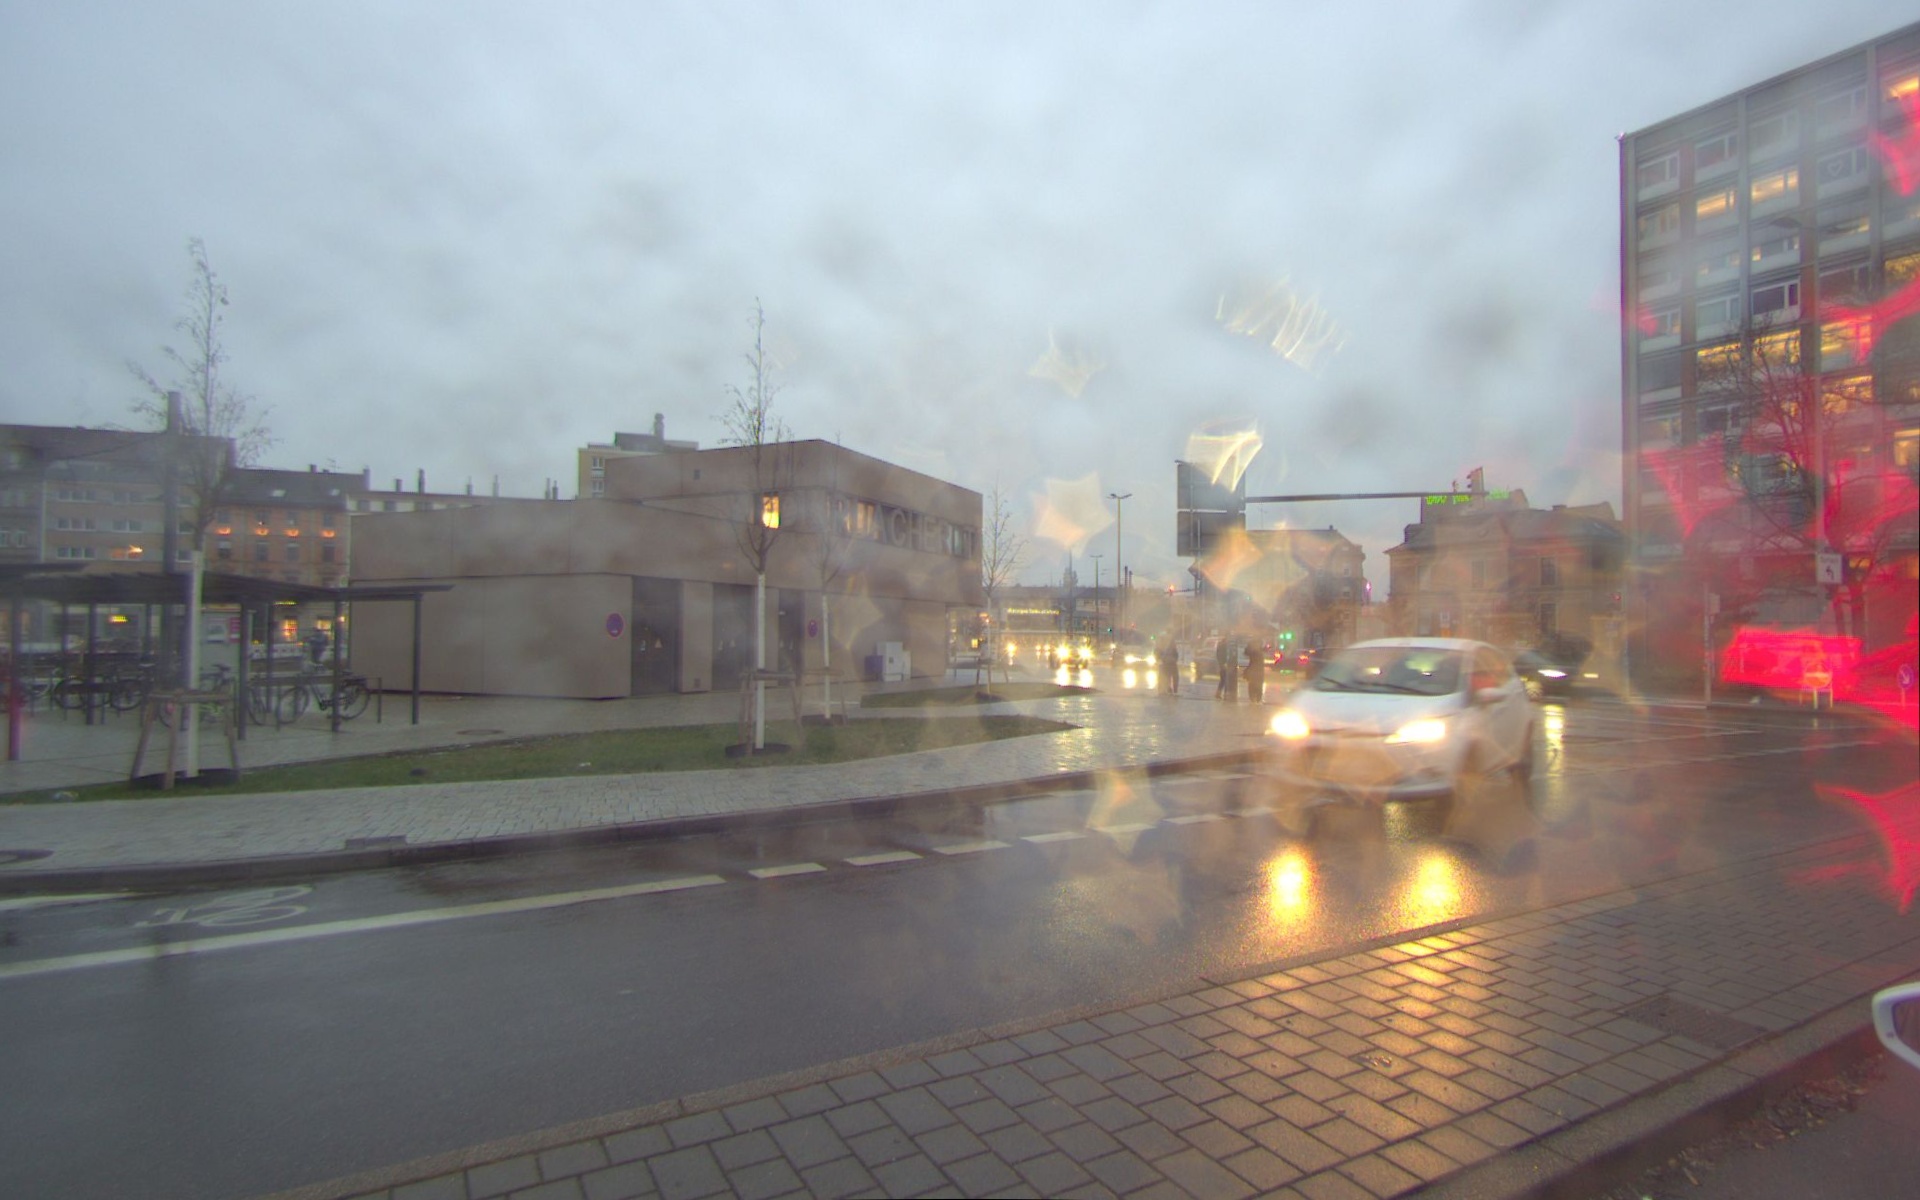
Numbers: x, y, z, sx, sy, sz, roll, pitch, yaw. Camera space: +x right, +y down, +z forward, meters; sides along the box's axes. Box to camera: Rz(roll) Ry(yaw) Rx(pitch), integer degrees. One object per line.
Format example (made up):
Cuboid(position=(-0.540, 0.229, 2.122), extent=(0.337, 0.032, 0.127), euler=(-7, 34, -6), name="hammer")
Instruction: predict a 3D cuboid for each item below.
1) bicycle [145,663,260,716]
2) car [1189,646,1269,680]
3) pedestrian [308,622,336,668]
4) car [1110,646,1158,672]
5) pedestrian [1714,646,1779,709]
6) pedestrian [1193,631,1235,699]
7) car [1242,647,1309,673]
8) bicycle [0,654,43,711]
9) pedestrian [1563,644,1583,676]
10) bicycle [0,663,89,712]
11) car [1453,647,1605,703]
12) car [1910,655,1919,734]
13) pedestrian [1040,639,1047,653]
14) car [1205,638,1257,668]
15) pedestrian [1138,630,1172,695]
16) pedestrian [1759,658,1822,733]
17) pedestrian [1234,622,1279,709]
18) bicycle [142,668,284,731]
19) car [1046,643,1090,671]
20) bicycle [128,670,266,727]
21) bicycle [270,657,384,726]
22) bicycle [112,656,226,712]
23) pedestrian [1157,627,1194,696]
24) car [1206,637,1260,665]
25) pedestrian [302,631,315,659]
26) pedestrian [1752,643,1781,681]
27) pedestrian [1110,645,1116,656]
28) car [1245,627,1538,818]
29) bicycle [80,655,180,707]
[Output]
Cuboid(position=(-15.180, 1.776, 20.179), extent=(0.466, 0.968, 1.767), euler=(1, -2, 29), name="bicycle")
Cuboid(position=(12.767, 2.959, 47.960), extent=(1.780, 1.496, 4.661), euler=(1, -3, -13), name="car")
Cuboid(position=(-23.672, 1.679, 37.259), extent=(0.517, 1.688, 0.701), euler=(-1, -2, 9), name="pedestrian")
Cuboid(position=(10.712, 3.637, 62.218), extent=(1.777, 1.496, 4.669), euler=(1, -3, -5), name="car")
Cuboid(position=(24.437, 2.382, 31.226), extent=(1.118, 1.867, 1.003), euler=(-2, -2, -10), name="pedestrian")
Cuboid(position=(6.692, 1.706, 26.500), extent=(0.838, 1.778, 0.659), euler=(0, -2, -14), name="pedestrian")
Cuboid(position=(20.091, 3.802, 63.982), extent=(3.741, 1.502, 1.602), euler=(2, 0, -1), name="car")
Cuboid(position=(-19.394, 1.630, 19.844), extent=(0.466, 1.122, 1.797), euler=(1, -2, 29), name="bicycle")
Cuboid(position=(33.227, 3.256, 54.410), extent=(0.626, 1.710, 0.640), euler=(0, -2, -13), name="pedestrian")
Cuboid(position=(-18.509, 1.731, 19.995), extent=(0.466, 0.903, 1.693), euler=(1, -2, 24), name="bicycle")
Cuboid(position=(16.478, 2.148, 29.340), extent=(1.778, 1.497, 3.962), euler=(1, -3, -9), name="car")
Cuboid(position=(19.731, 1.733, 17.331), extent=(1.782, 1.497, 4.577), euler=(2, -3, -17), name="car")
Cuboid(position=(11.890, 6.524, 143.348), extent=(0.960, 2.040, 0.920), euler=(-1, -2, 11), name="pedestrian")
Cuboid(position=(16.716, 3.252, 62.102), extent=(1.792, 1.589, 3.997), euler=(2, 0, -5), name="car")
Cuboid(position=(5.465, 1.738, 28.179), extent=(0.544, 1.793, 0.734), euler=(1, -3, -43), name="pedestrian")
Cuboid(position=(22.898, 2.605, 27.711), extent=(0.944, 2.004, 0.927), euler=(0, -2, -17), name="pedestrian")
Cuboid(position=(7.208, 1.576, 24.385), extent=(0.971, 2.047, 0.802), euler=(-1, -2, 19), name="pedestrian")
Cuboid(position=(-12.936, 1.701, 17.464), extent=(0.466, 0.989, 1.923), euler=(1, -2, 29), name="bicycle")
Cuboid(position=(6.562, 3.473, 61.582), extent=(1.742, 1.598, 3.995), euler=(0, -2, -8), name="car")
Cuboid(position=(-13.587, 1.735, 17.956), extent=(0.466, 0.903, 1.923), euler=(1, -2, 29), name="bicycle")
Cuboid(position=(-11.750, 1.673, 18.724), extent=(0.605, 1.172, 1.755), euler=(1, -2, 20), name="bicycle")
Cuboid(position=(-16.530, 1.734, 21.044), extent=(0.466, 1.087, 1.830), euler=(1, -2, 26), name="bicycle")
Cuboid(position=(5.925, 1.679, 27.659), extent=(0.671, 1.863, 0.726), euler=(1, -3, -42), name="pedestrian")
Cuboid(position=(19.622, 3.650, 72.357), extent=(3.514, 1.850, 1.672), euler=(2, 0, 8), name="car")
Cuboid(position=(-47.851, 3.294, 73.777), extent=(0.695, 2.040, 0.586), euler=(0, -2, -21), name="pedestrian")
Cuboid(position=(35.039, 2.684, 43.657), extent=(0.548, 1.649, 0.760), euler=(0, -2, -15), name="pedestrian")
Cuboid(position=(28.537, 9.404, 187.134), extent=(0.960, 2.040, 0.920), euler=(-1, -2, 11), name="pedestrian")
Cuboid(position=(4.308, 1.079, 9.725), extent=(1.718, 1.467, 3.700), euler=(-4, -5, 37), name="car")
Cuboid(position=(-17.687, 1.708, 21.438), extent=(0.511, 1.050, 1.573), euler=(1, -2, 19), name="bicycle")
